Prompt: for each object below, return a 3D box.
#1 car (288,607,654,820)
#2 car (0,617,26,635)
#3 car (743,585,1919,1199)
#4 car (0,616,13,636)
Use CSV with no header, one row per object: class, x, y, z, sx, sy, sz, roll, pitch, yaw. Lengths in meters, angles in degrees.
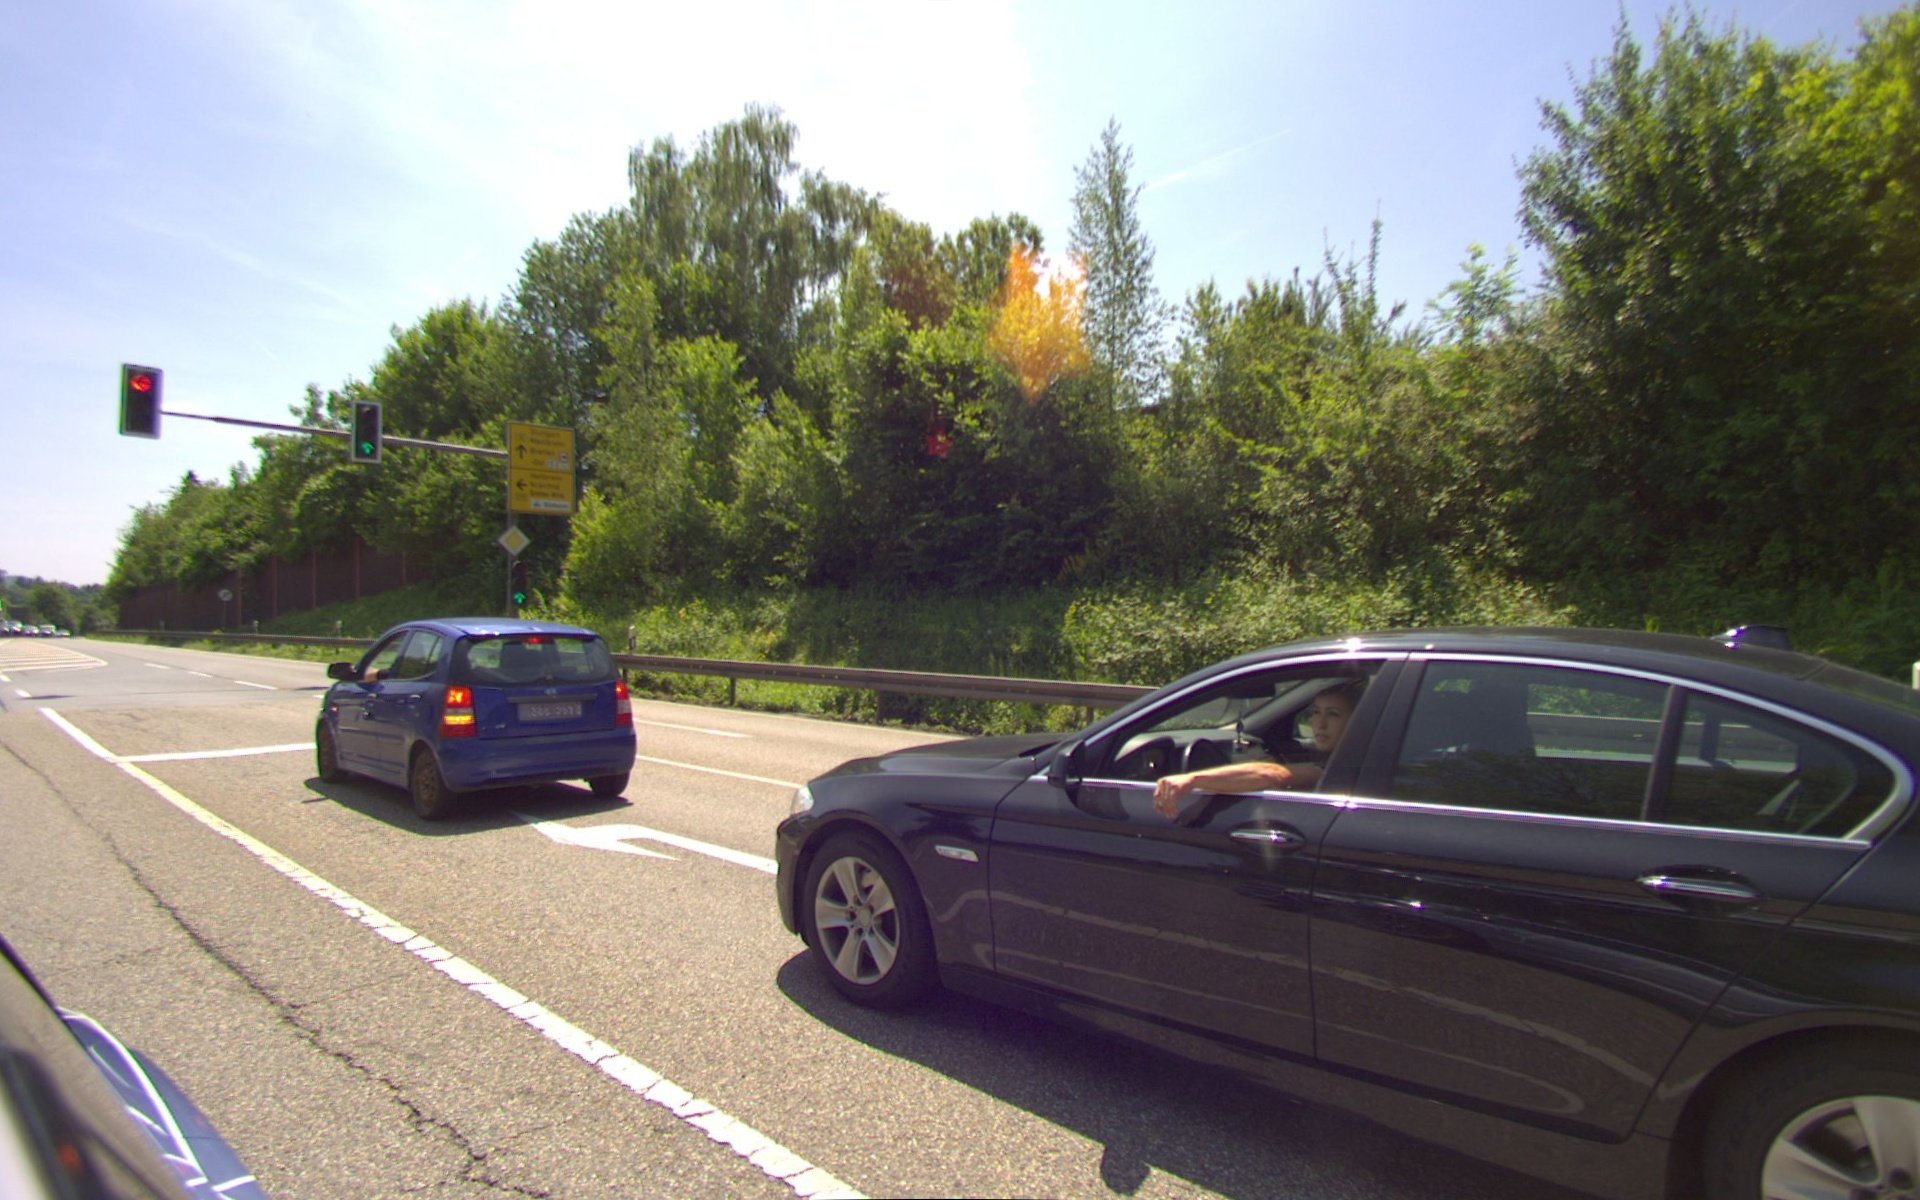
car,-4.357,0.812,8.767,3.769,1.451,1.550,-1,-2,42
car,-95.159,2.610,101.622,1.970,1.780,4.004,0,0,-44
car,1.446,0.732,3.295,4.637,1.458,1.763,-1,-2,40
car,-87.215,2.358,91.731,1.970,1.780,4.004,0,0,-44
